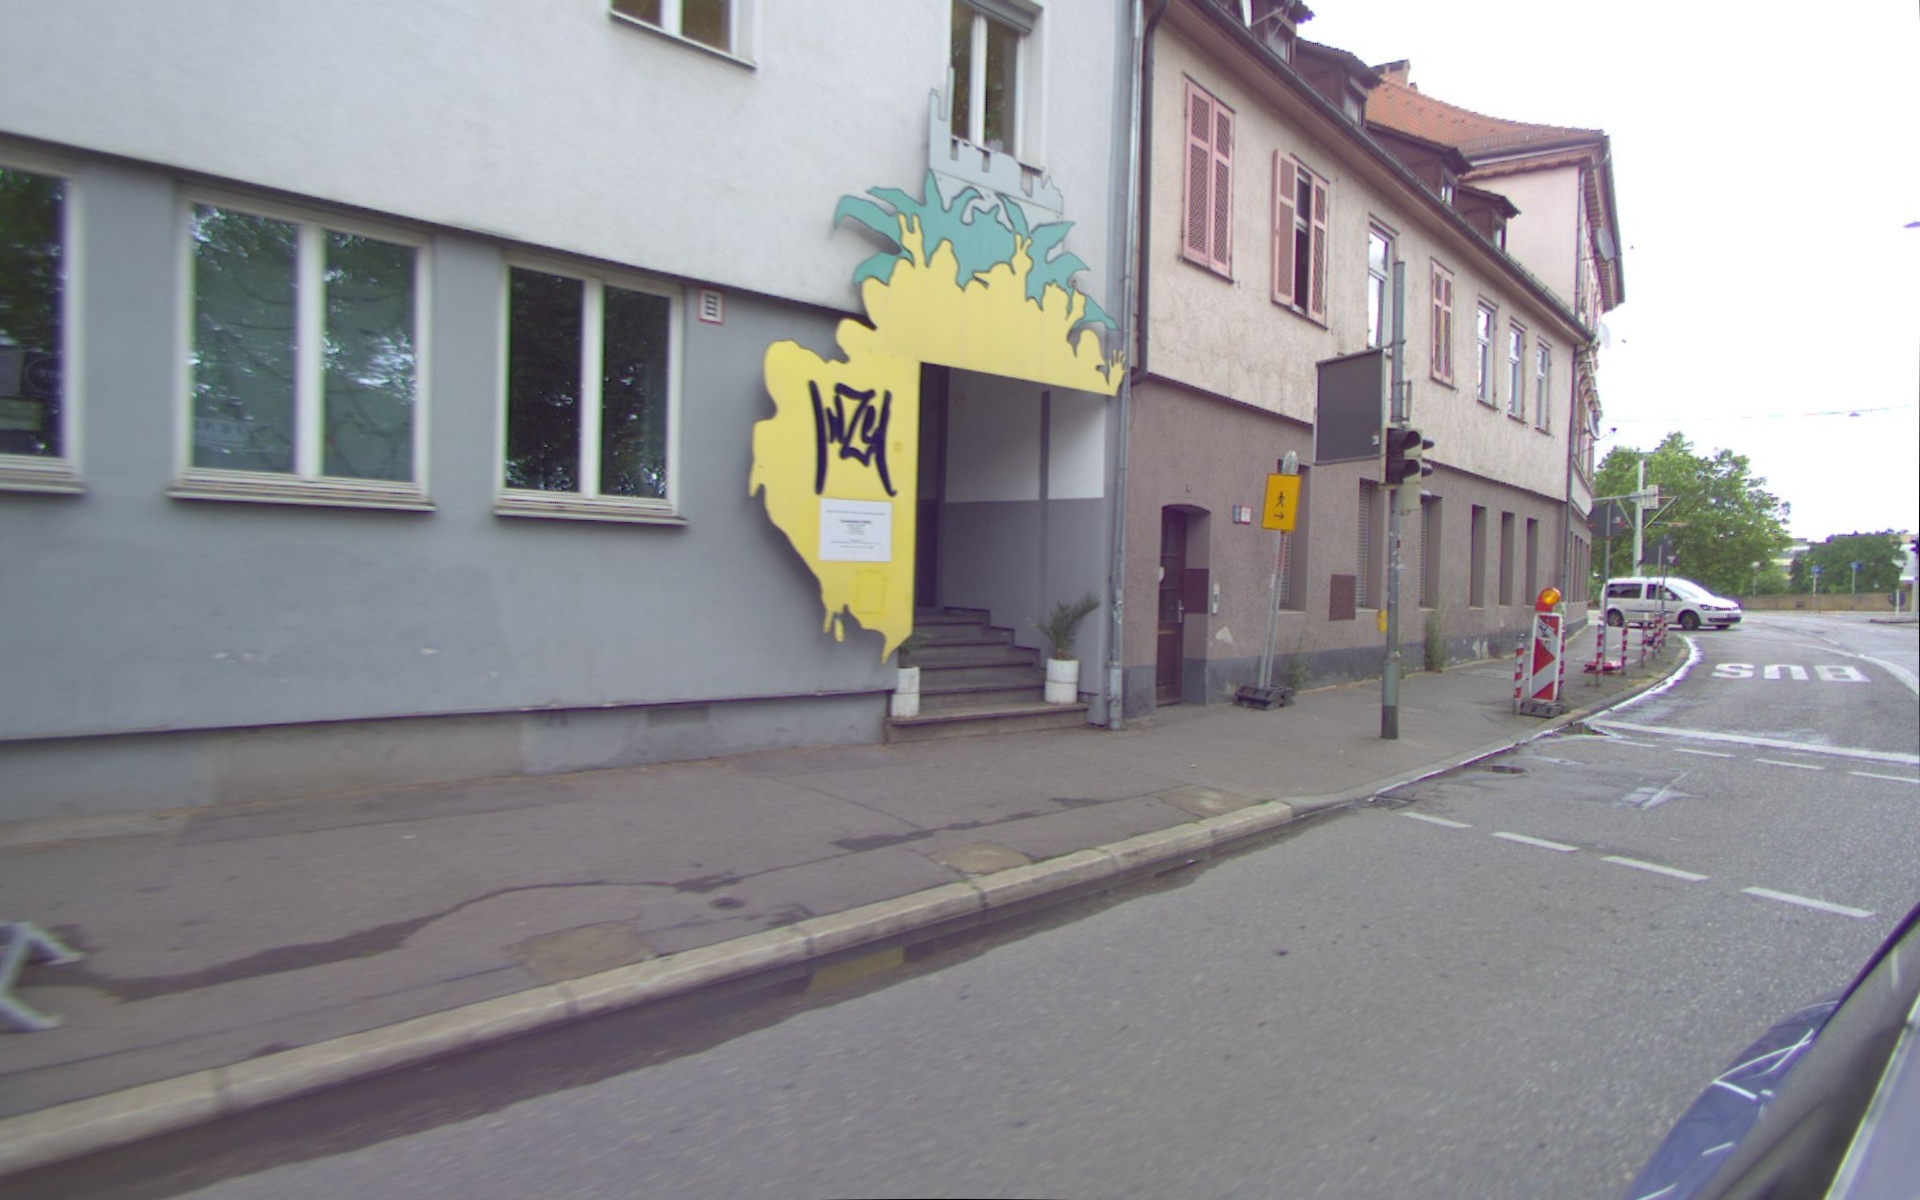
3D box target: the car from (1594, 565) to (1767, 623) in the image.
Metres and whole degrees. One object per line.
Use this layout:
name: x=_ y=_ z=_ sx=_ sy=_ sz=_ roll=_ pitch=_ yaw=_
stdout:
car: x=24.961 y=-0.216 z=35.275 sx=2.031 sy=1.807 sz=4.466 roll=-3 pitch=1 yaw=-22
